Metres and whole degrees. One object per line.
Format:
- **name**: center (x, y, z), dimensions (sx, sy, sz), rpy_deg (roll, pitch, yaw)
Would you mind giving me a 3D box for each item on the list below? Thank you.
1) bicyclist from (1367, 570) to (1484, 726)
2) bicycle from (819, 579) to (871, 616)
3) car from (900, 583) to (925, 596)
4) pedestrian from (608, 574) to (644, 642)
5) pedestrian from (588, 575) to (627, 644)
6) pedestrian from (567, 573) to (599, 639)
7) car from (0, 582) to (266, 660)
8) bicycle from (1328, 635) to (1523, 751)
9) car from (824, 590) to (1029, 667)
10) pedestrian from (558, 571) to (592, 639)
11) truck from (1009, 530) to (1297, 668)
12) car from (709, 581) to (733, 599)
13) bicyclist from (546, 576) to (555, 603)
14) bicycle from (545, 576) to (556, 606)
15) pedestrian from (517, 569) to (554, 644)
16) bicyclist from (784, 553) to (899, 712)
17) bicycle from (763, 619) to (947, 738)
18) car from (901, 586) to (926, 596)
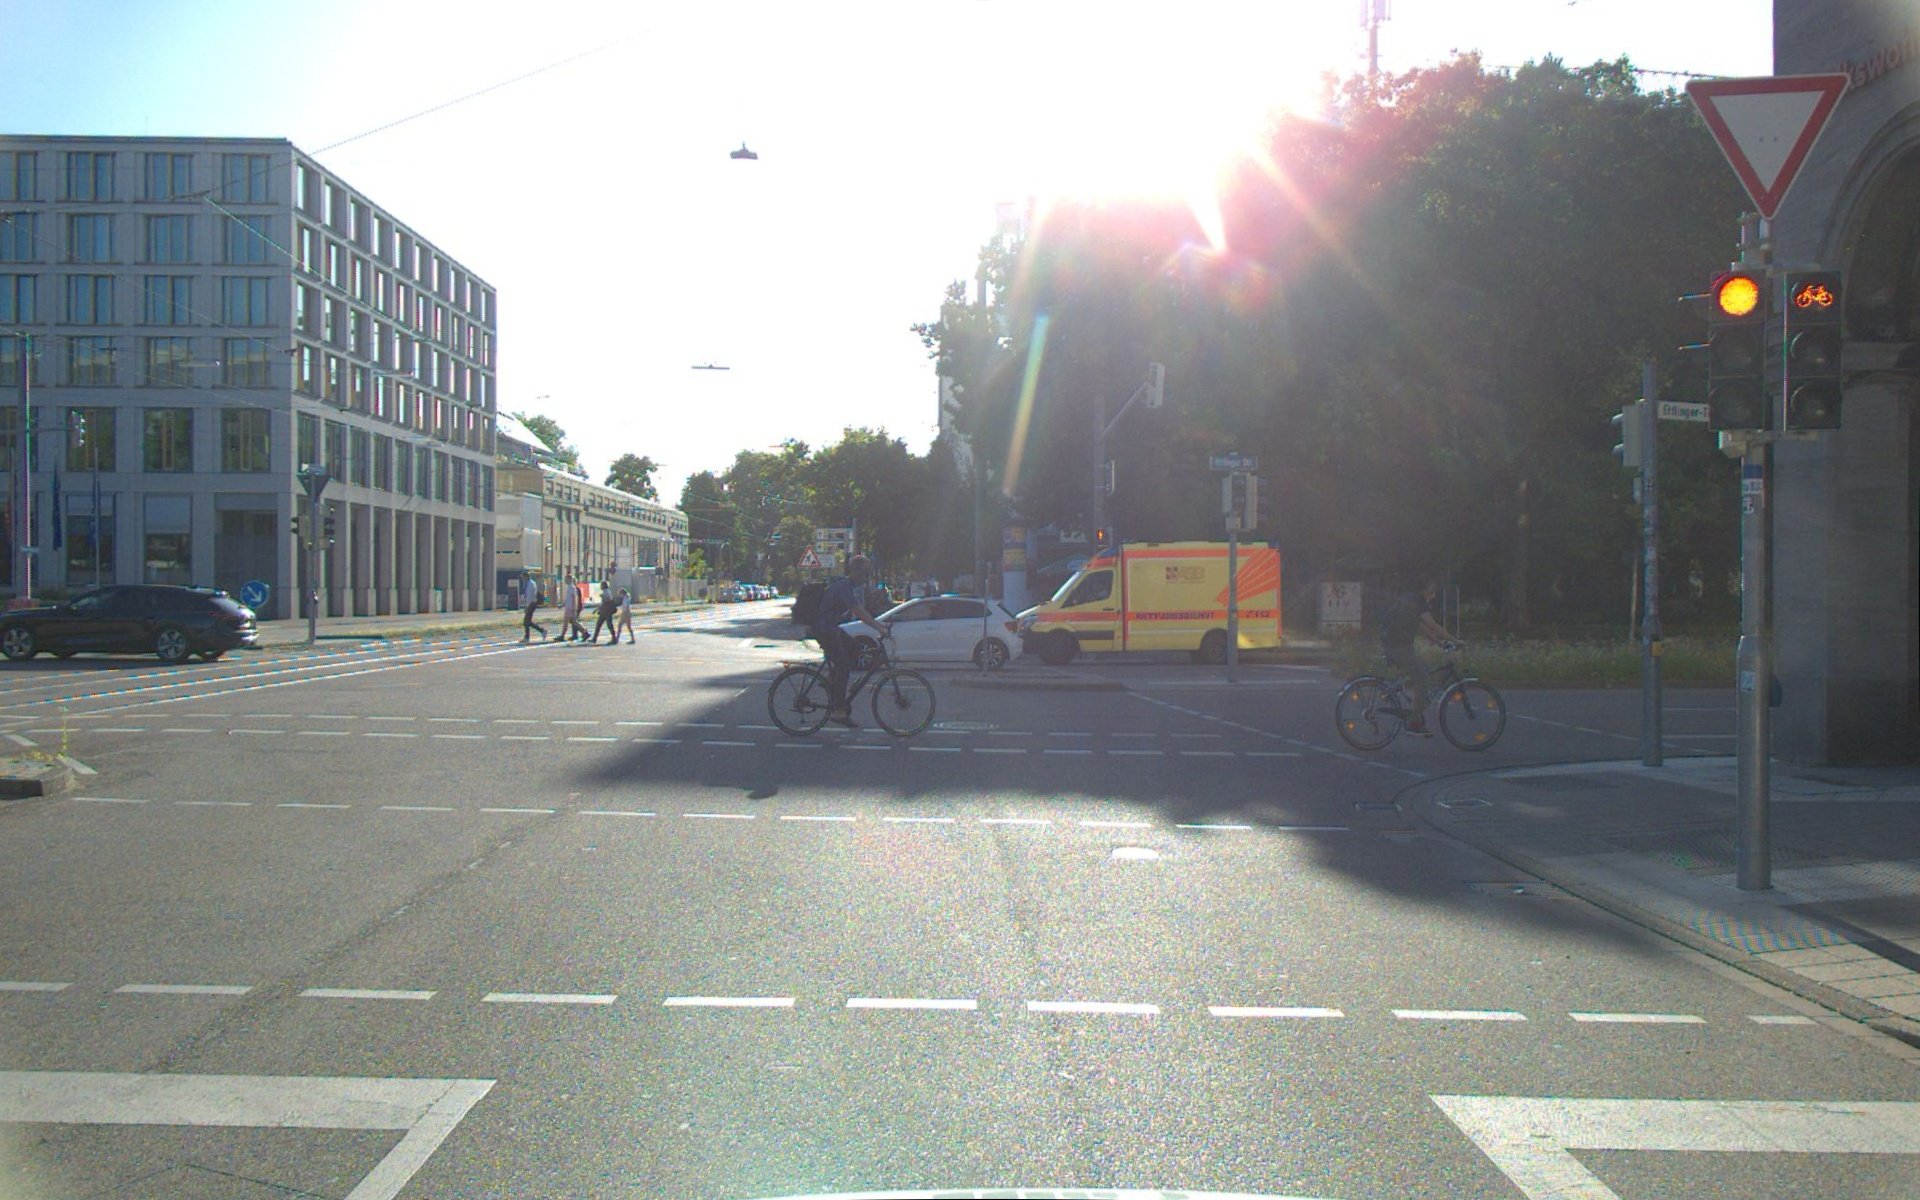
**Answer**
- **bicyclist**: center (4.725, 0.471, 16.843), dimensions (0.981, 1.538, 0.767), rpy_deg (0, 2, 3)
- **bicycle**: center (-5.648, -0.110, 81.379), dimensions (2.495, 1.774, 1.037), rpy_deg (1, 0, -1)
- **car**: center (-6.130, -1.305, 213.396), dimensions (3.152, 1.616, 1.445), rpy_deg (1, 0, -5)
- **pedestrian**: center (-9.152, 0.223, 45.291), dimensions (0.851, 1.835, 0.532), rpy_deg (0, 0, 4)
- **pedestrian**: center (-9.453, 0.247, 44.355), dimensions (0.852, 1.835, 0.664), rpy_deg (0, 0, 4)
- **pedestrian**: center (-10.487, 0.159, 46.014), dimensions (0.723, 1.835, 0.532), rpy_deg (0, 0, 4)
- **car**: center (-16.338, 0.438, 32.362), dimensions (4.641, 1.440, 1.998), rpy_deg (1, -2, -3)
- **bicycle**: center (4.718, 0.933, 16.853), dimensions (1.775, 1.104, 0.767), rpy_deg (0, 2, 3)
- **car**: center (-0.685, 0.550, 32.778), dimensions (3.962, 1.459, 1.631), rpy_deg (0, -1, -3)
- **pedestrian**: center (-10.519, 0.136, 45.241), dimensions (0.723, 1.835, 0.716), rpy_deg (0, 0, 4)
- **truck**: center (4.364, -0.031, 38.380), dimensions (6.337, 3.068, 2.725), rpy_deg (0, 0, -1)
- **car**: center (-22.517, -0.964, 155.948), dimensions (1.856, 1.635, 4.498), rpy_deg (0, 0, -3)
- **bicyclist**: center (-32.119, -0.808, 129.657), dimensions (0.559, 2.059, 0.761), rpy_deg (0, 0, -2)
- **bicycle**: center (-32.120, -0.706, 129.752), dimensions (0.559, 2.336, 1.422), rpy_deg (0, 0, -2)
- **pedestrian**: center (-11.183, 0.169, 43.580), dimensions (0.785, 1.951, 0.637), rpy_deg (0, 0, 4)
- **bicyclist**: center (-1.261, 0.331, 17.431), dimensions (1.103, 1.622, 0.765), rpy_deg (1, 1, -10)
- **bicycle**: center (-1.120, 0.823, 17.474), dimensions (1.839, 1.178, 0.765), rpy_deg (1, 1, -11)
- **car**: center (-5.962, -1.149, 211.107), dimensions (3.153, 1.285, 1.372), rpy_deg (1, 0, -3)
